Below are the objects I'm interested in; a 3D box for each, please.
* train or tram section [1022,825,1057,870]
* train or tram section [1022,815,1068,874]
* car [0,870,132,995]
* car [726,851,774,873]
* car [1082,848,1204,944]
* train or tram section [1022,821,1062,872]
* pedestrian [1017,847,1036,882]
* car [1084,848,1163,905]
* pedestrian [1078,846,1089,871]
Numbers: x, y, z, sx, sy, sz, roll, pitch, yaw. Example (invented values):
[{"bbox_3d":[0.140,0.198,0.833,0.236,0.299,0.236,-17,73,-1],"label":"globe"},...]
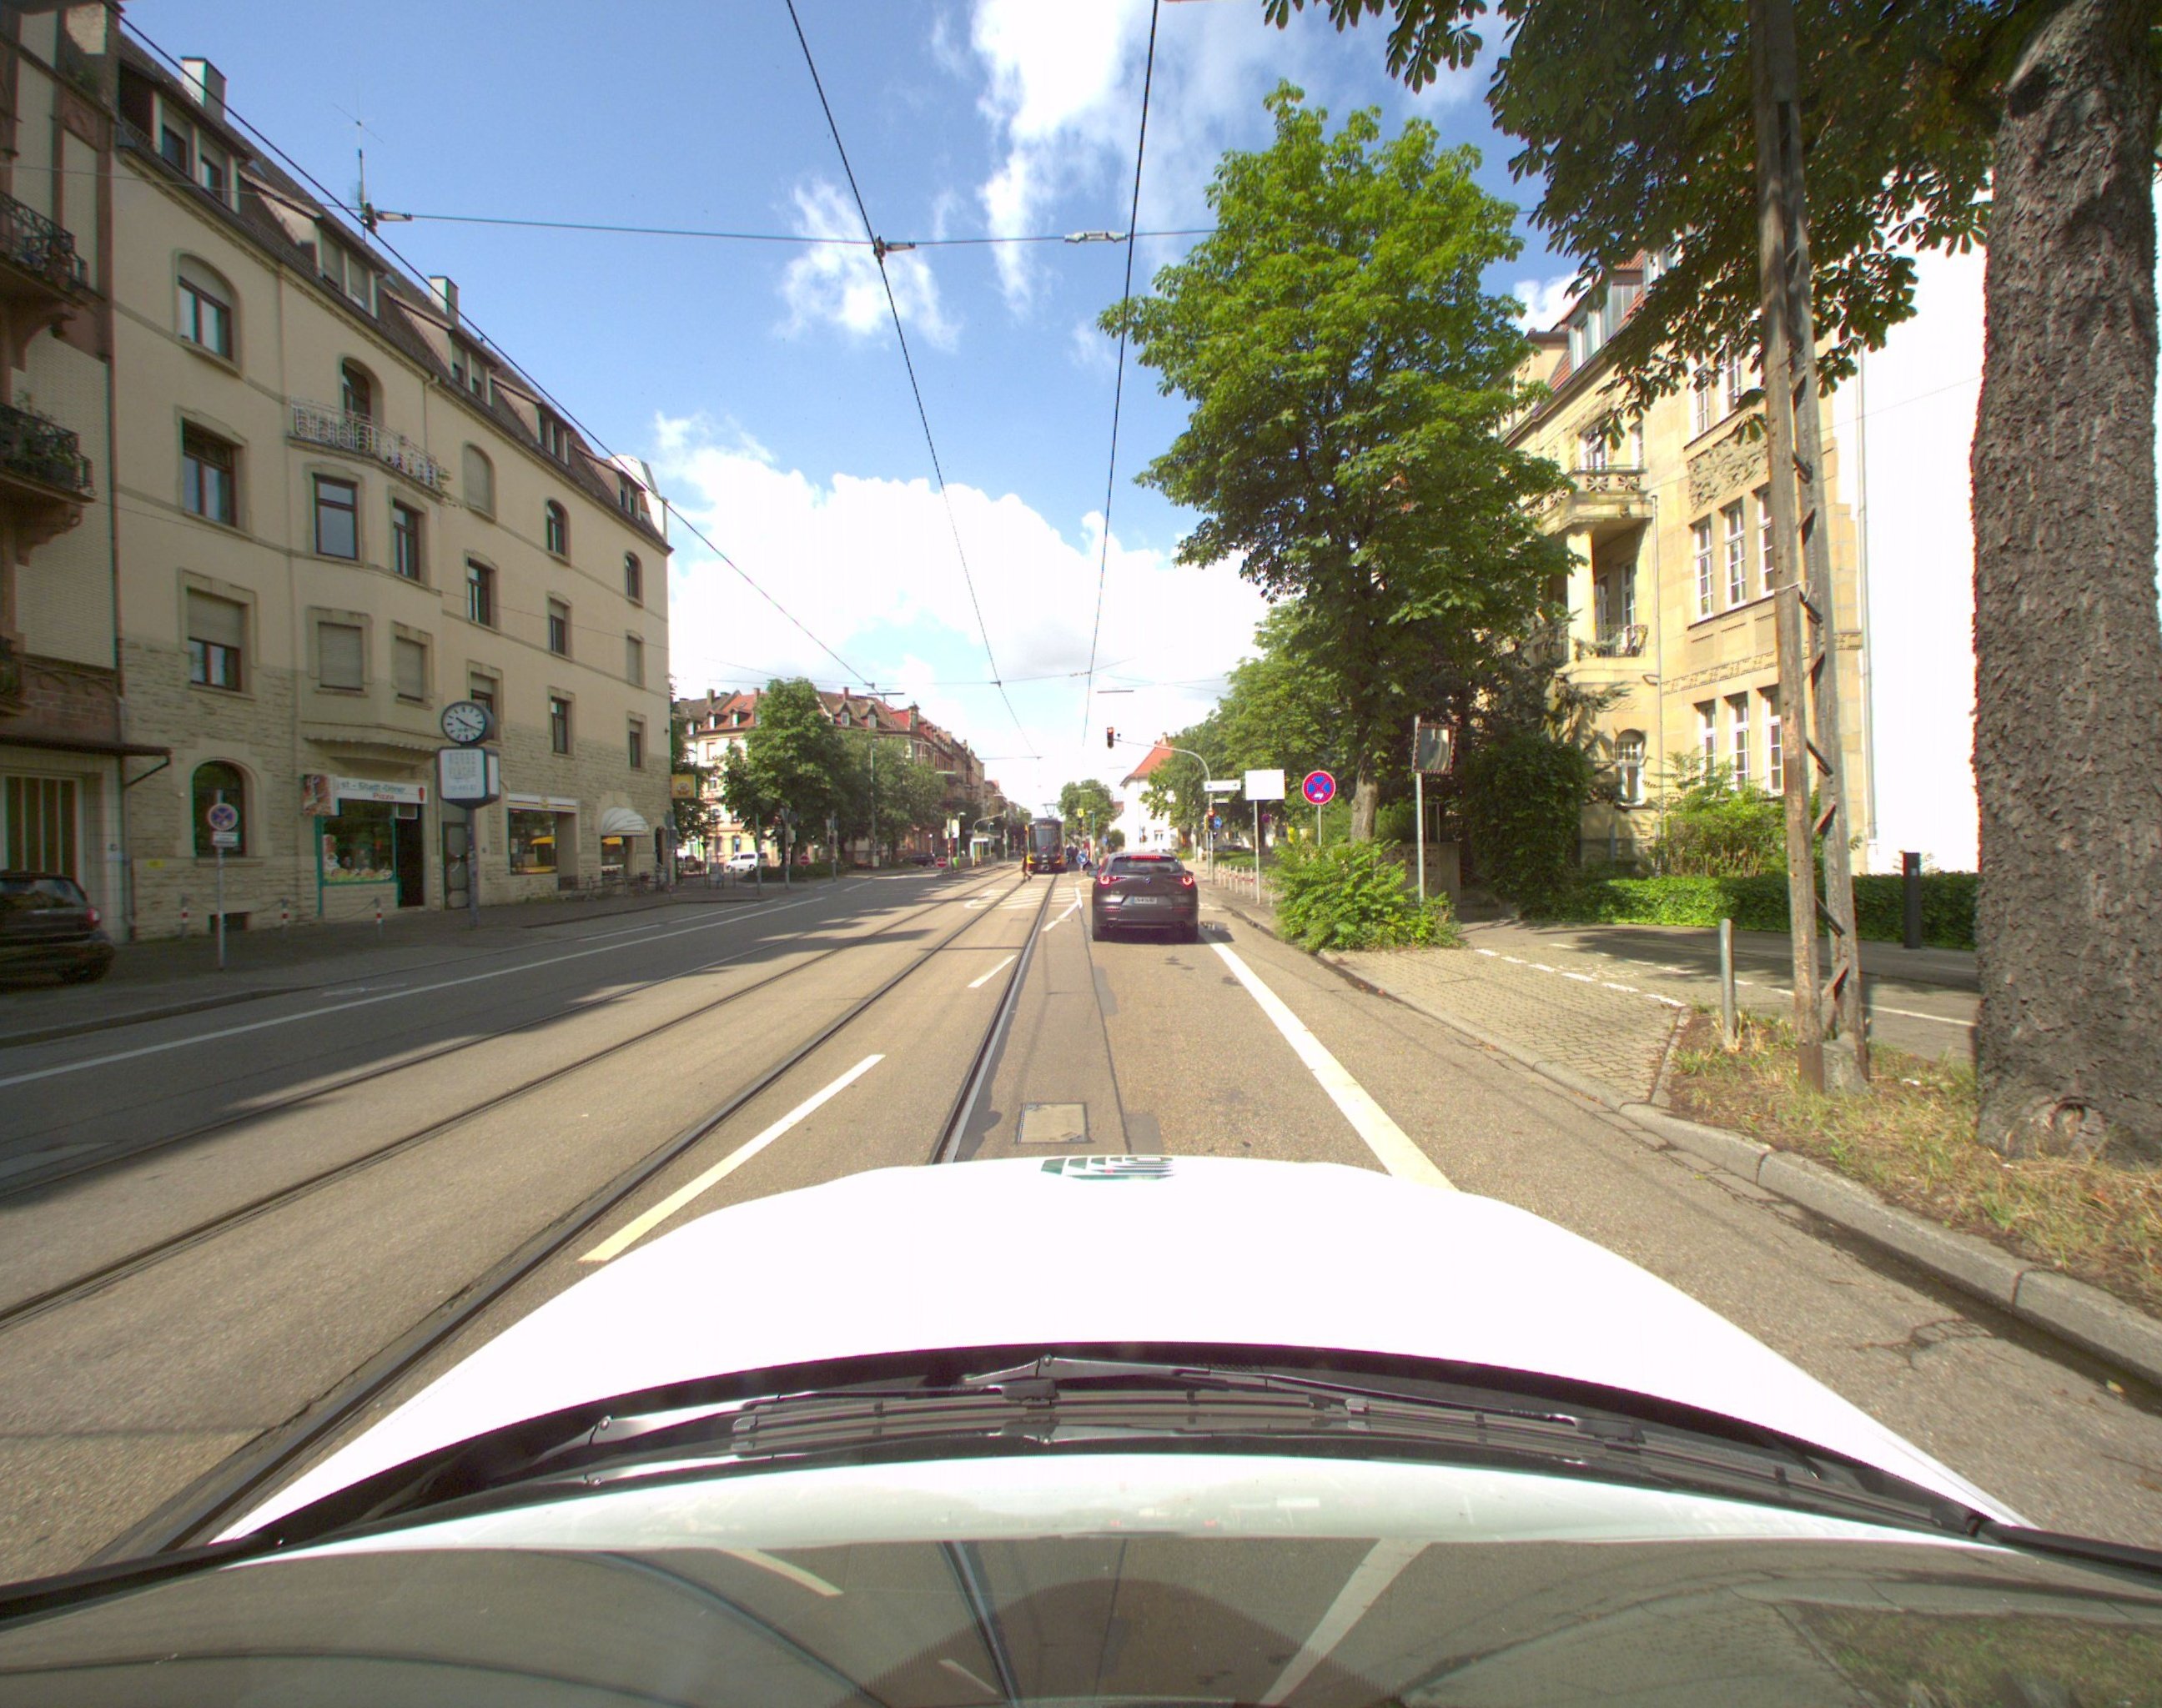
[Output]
[{"bbox_3d":[-3.675,-0.502,70.599,2.647,3.527,8.483,-2,0,-4],"label":"train or tram section"},{"bbox_3d":[-2.479,-0.569,53.675,2.647,3.527,8.483,-2,0,-4],"label":"train or tram section"},{"bbox_3d":[-14.874,0.976,10.539,3.224,1.513,1.679,0,0,2],"label":"car"},{"bbox_3d":[-35.160,0.870,86.628,4.096,2.013,2.005,-5,0,8],"label":"car"},{"bbox_3d":[0.999,0.657,15.188,1.785,1.512,4.347,0,0,-2],"label":"car"},{"bbox_3d":[-3.075,-0.540,62.122,2.647,3.527,8.483,-2,0,-4],"label":"train or tram section"},{"bbox_3d":[-2.563,0.490,38.429,0.873,1.605,0.631,-1,0,-5],"label":"pedestrian"},{"bbox_3d":[1.166,0.590,24.460,1.781,1.492,4.877,-2,0,-4],"label":"car"},{"bbox_3d":[0.149,0.275,52.567,0.666,1.605,0.699,-1,0,-3],"label":"pedestrian"}]
